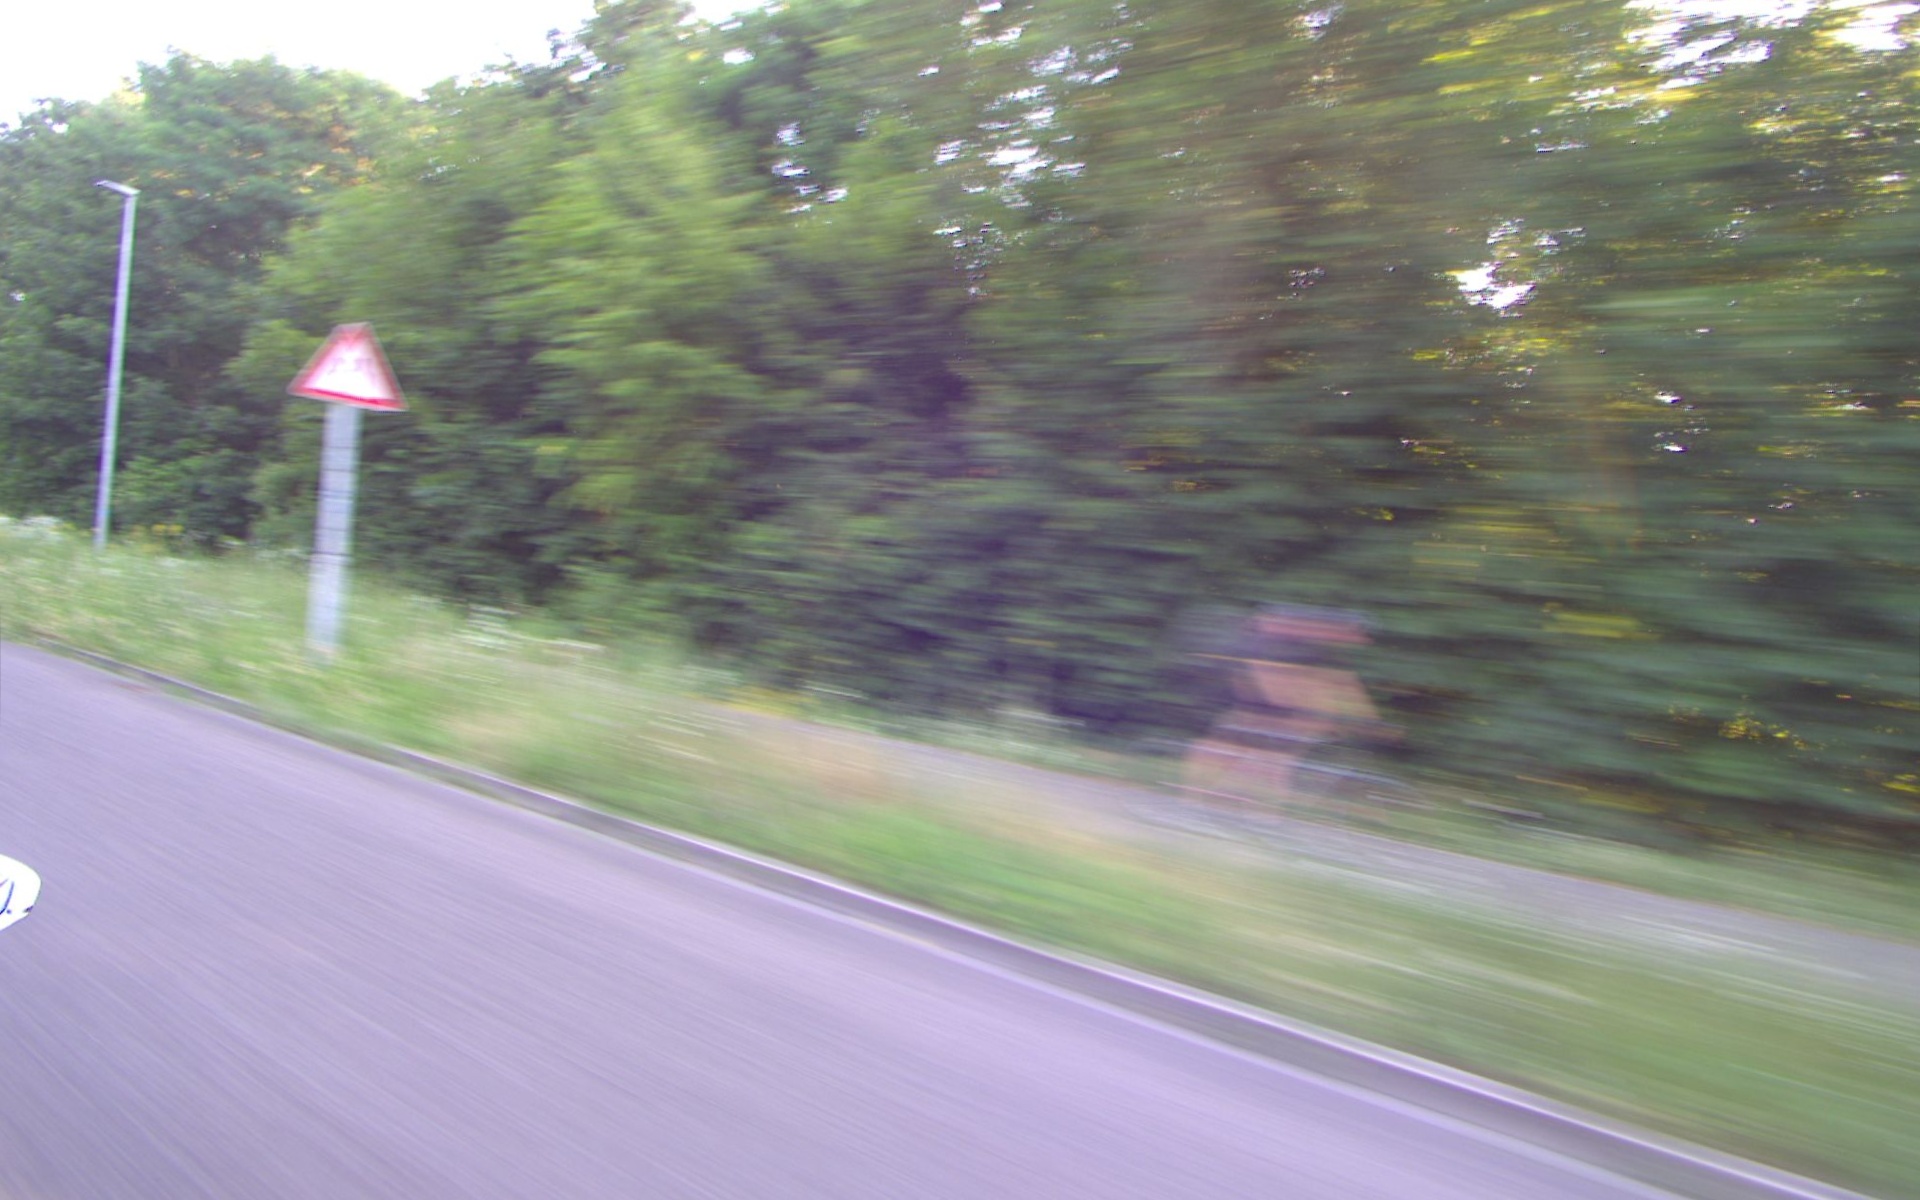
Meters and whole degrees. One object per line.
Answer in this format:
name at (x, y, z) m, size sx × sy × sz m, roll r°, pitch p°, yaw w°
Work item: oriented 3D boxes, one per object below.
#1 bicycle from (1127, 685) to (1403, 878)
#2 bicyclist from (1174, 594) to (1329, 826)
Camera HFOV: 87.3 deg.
bicycle at (2.111, 1.205, 7.057) m, size 1.664 × 1.008 × 0.611 m, roll 6°, pitch 1°, yaw 33°
bicyclist at (2.065, 0.748, 7.111) m, size 0.767 × 1.474 × 0.603 m, roll 7°, pitch 1°, yaw 33°
